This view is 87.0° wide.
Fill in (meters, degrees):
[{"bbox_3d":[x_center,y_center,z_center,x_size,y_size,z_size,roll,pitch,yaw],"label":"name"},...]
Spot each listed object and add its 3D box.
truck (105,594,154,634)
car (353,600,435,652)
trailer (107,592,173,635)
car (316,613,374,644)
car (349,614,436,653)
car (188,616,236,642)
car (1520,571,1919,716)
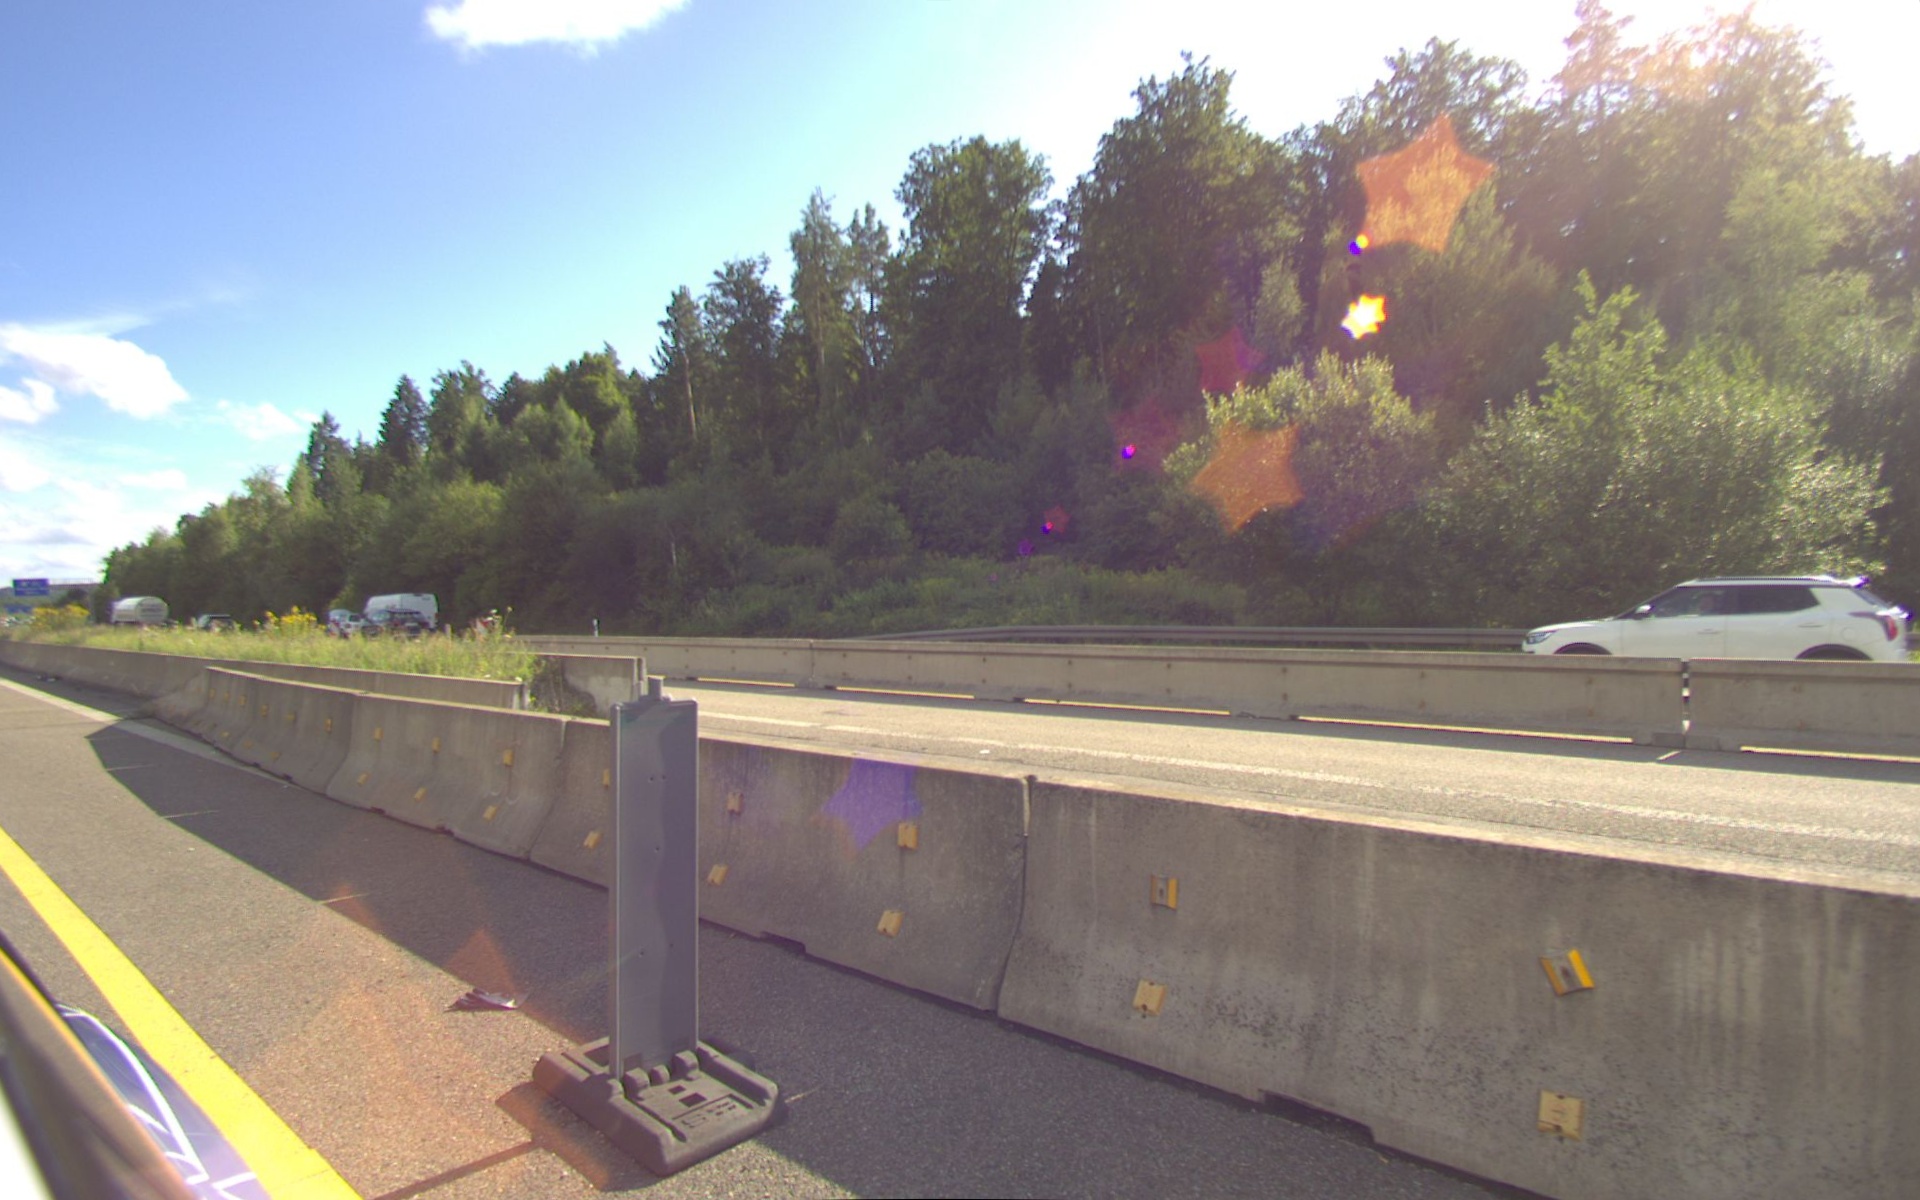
[{"bbox_3d":[-75.647,1.298,92.115,4.939,3.516,2.755,-1,0,42],"label":"truck"},{"bbox_3d":[-31.374,1.410,55.949,6.522,2.705,2.006,-1,0,43],"label":"car"},{"bbox_3d":[-71.633,1.187,88.285,11.110,3.516,2.772,-1,0,42],"label":"trailer"},{"bbox_3d":[-38.499,1.749,63.293,4.761,1.867,1.840,-1,0,43],"label":"car"},{"bbox_3d":[-24.879,1.441,44.298,4.480,1.600,1.938,-1,0,41],"label":"car"},{"bbox_3d":[-48.441,1.845,65.487,4.017,1.614,1.759,-1,0,43],"label":"car"},{"bbox_3d":[9.807,0.501,13.266,4.017,1.614,1.759,-1,0,43],"label":"car"}]
